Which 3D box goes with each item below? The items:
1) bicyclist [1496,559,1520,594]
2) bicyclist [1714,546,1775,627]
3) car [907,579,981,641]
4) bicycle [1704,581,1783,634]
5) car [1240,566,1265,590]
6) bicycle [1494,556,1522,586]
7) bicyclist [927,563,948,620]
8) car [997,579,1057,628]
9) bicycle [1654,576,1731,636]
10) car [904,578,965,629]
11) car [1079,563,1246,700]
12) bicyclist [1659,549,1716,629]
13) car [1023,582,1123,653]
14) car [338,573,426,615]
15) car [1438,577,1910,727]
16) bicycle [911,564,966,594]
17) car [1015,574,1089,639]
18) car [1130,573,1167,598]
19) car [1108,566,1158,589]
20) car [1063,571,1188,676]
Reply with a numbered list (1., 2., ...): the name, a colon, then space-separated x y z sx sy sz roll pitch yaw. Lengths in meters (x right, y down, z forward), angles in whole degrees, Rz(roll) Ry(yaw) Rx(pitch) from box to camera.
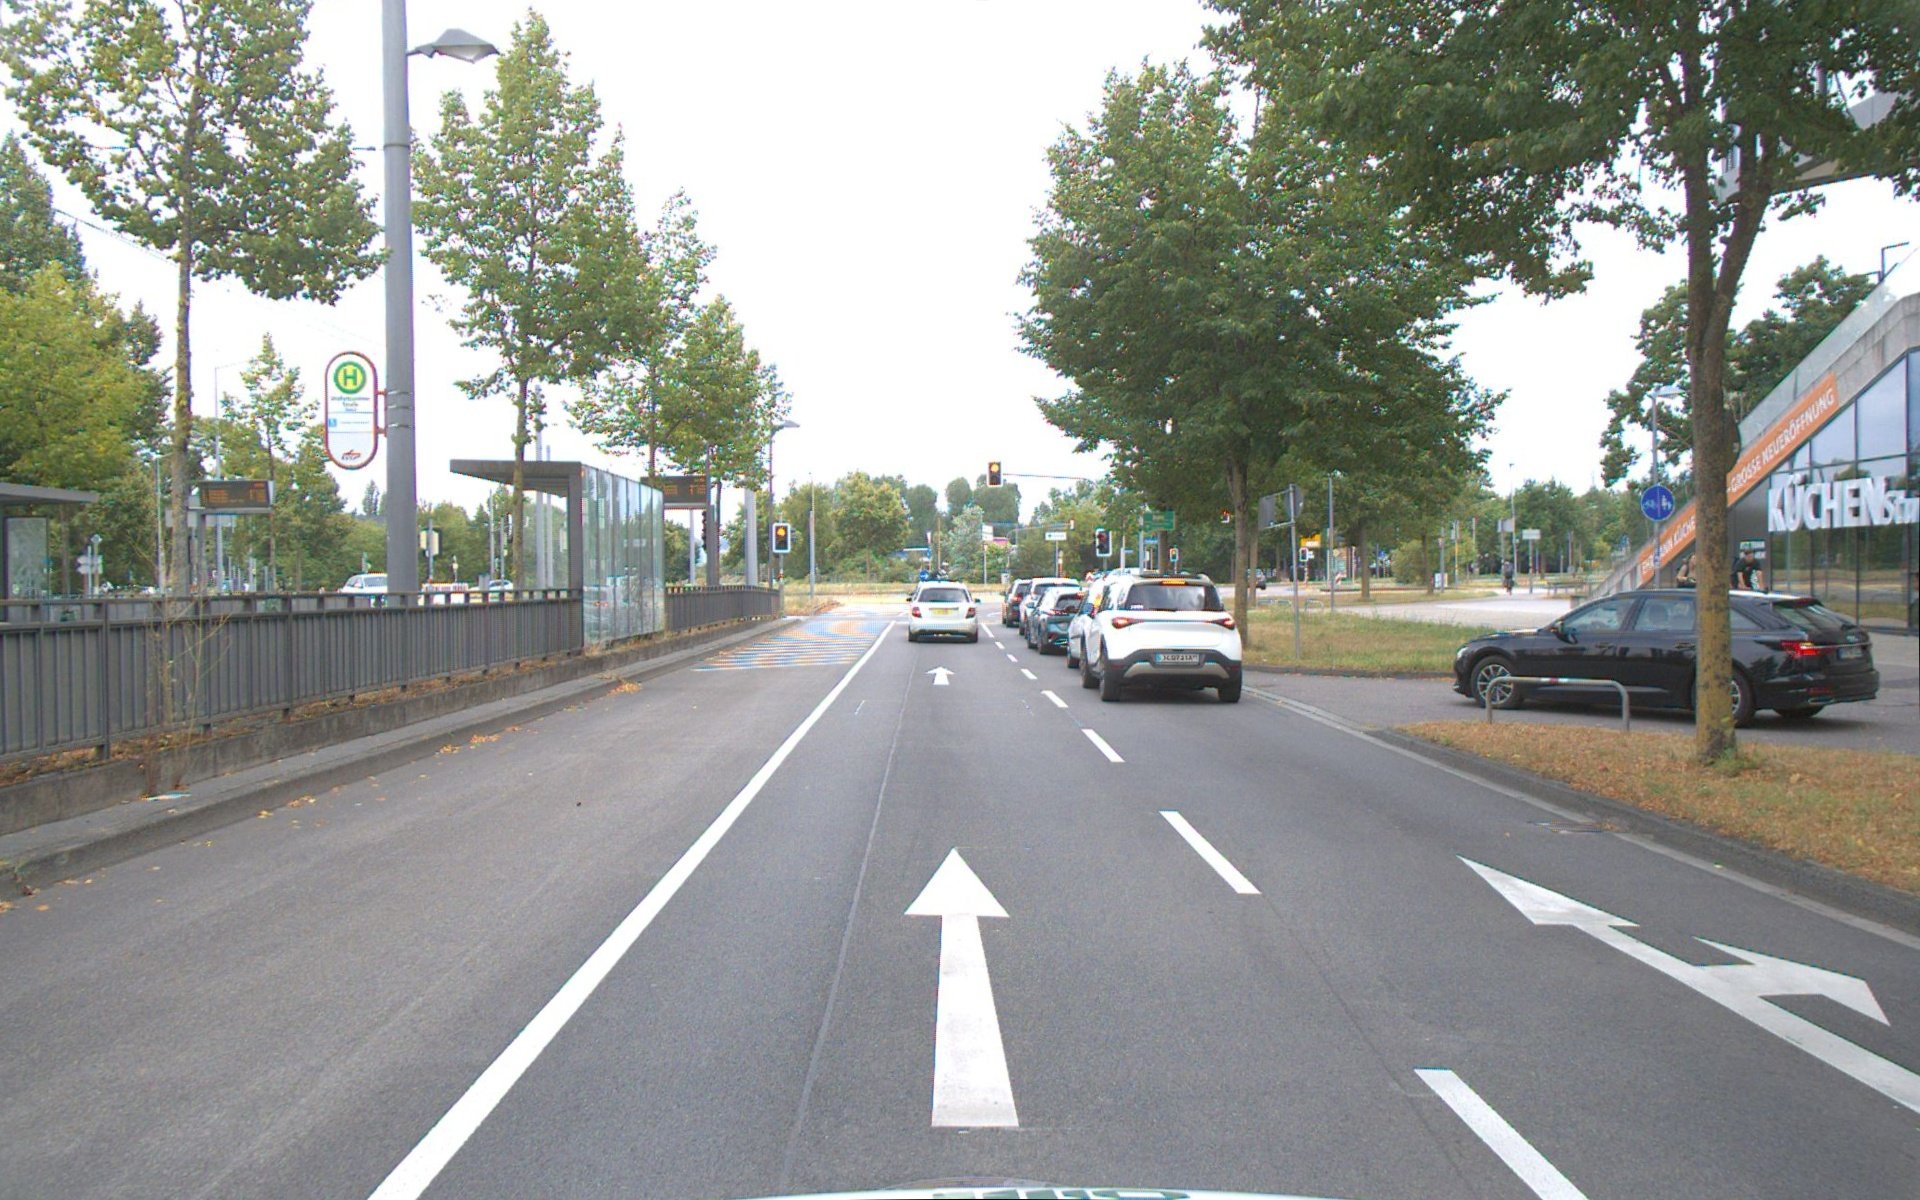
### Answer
1. bicyclist: 28.846 -1.237 87.078 0.849 1.820 1.174 -1 1 -2
2. bicyclist: 16.088 -0.270 33.933 0.710 1.610 0.989 -2 0 -1
3. car: -0.438 0.208 41.961 1.738 1.473 3.909 1 1 -3
4. bicycle: 16.106 0.139 34.057 0.659 1.060 2.007 -1 1 -1
5. car: 21.415 -1.622 121.146 1.745 1.664 4.406 -1 1 9
6. bicycle: 28.861 -1.536 87.100 0.691 1.532 2.007 1 0 -2
7. bicyclist: -0.792 -0.313 57.517 0.714 1.917 0.734 -1 5 -2
8. car: 2.118 0.087 53.016 1.592 1.473 3.909 1 1 -3
9. bicycle: 14.864 0.106 33.622 0.659 1.163 2.007 -1 1 -1
10. car: -0.804 0.078 50.223 1.738 1.473 3.909 1 1 -3
11. car: 2.689 0.362 22.741 1.742 1.685 4.023 -1 1 -1
12. bicyclist: 14.837 -0.229 33.746 0.710 1.610 0.989 -1 1 -1
13. car: 2.463 0.346 37.101 1.751 1.457 4.309 0 1 -3
14. car: -23.952 -0.254 68.448 1.983 1.646 4.318 -1 1 -41
15. car: 8.168 0.517 19.383 1.925 1.501 4.810 -1 1 -35
16. bicycle: -0.736 -0.724 57.277 1.895 1.001 0.564 -1 1 -2
17. car: 2.462 0.142 45.219 1.751 1.653 3.910 -1 1 -1
18. car: 14.409 -1.106 126.498 1.955 1.822 3.995 2 0 -6
19. car: 15.484 -2.010 147.531 1.964 2.049 4.972 0 1 41
20. car: 2.832 0.353 29.091 1.742 1.685 4.023 -1 1 -1
